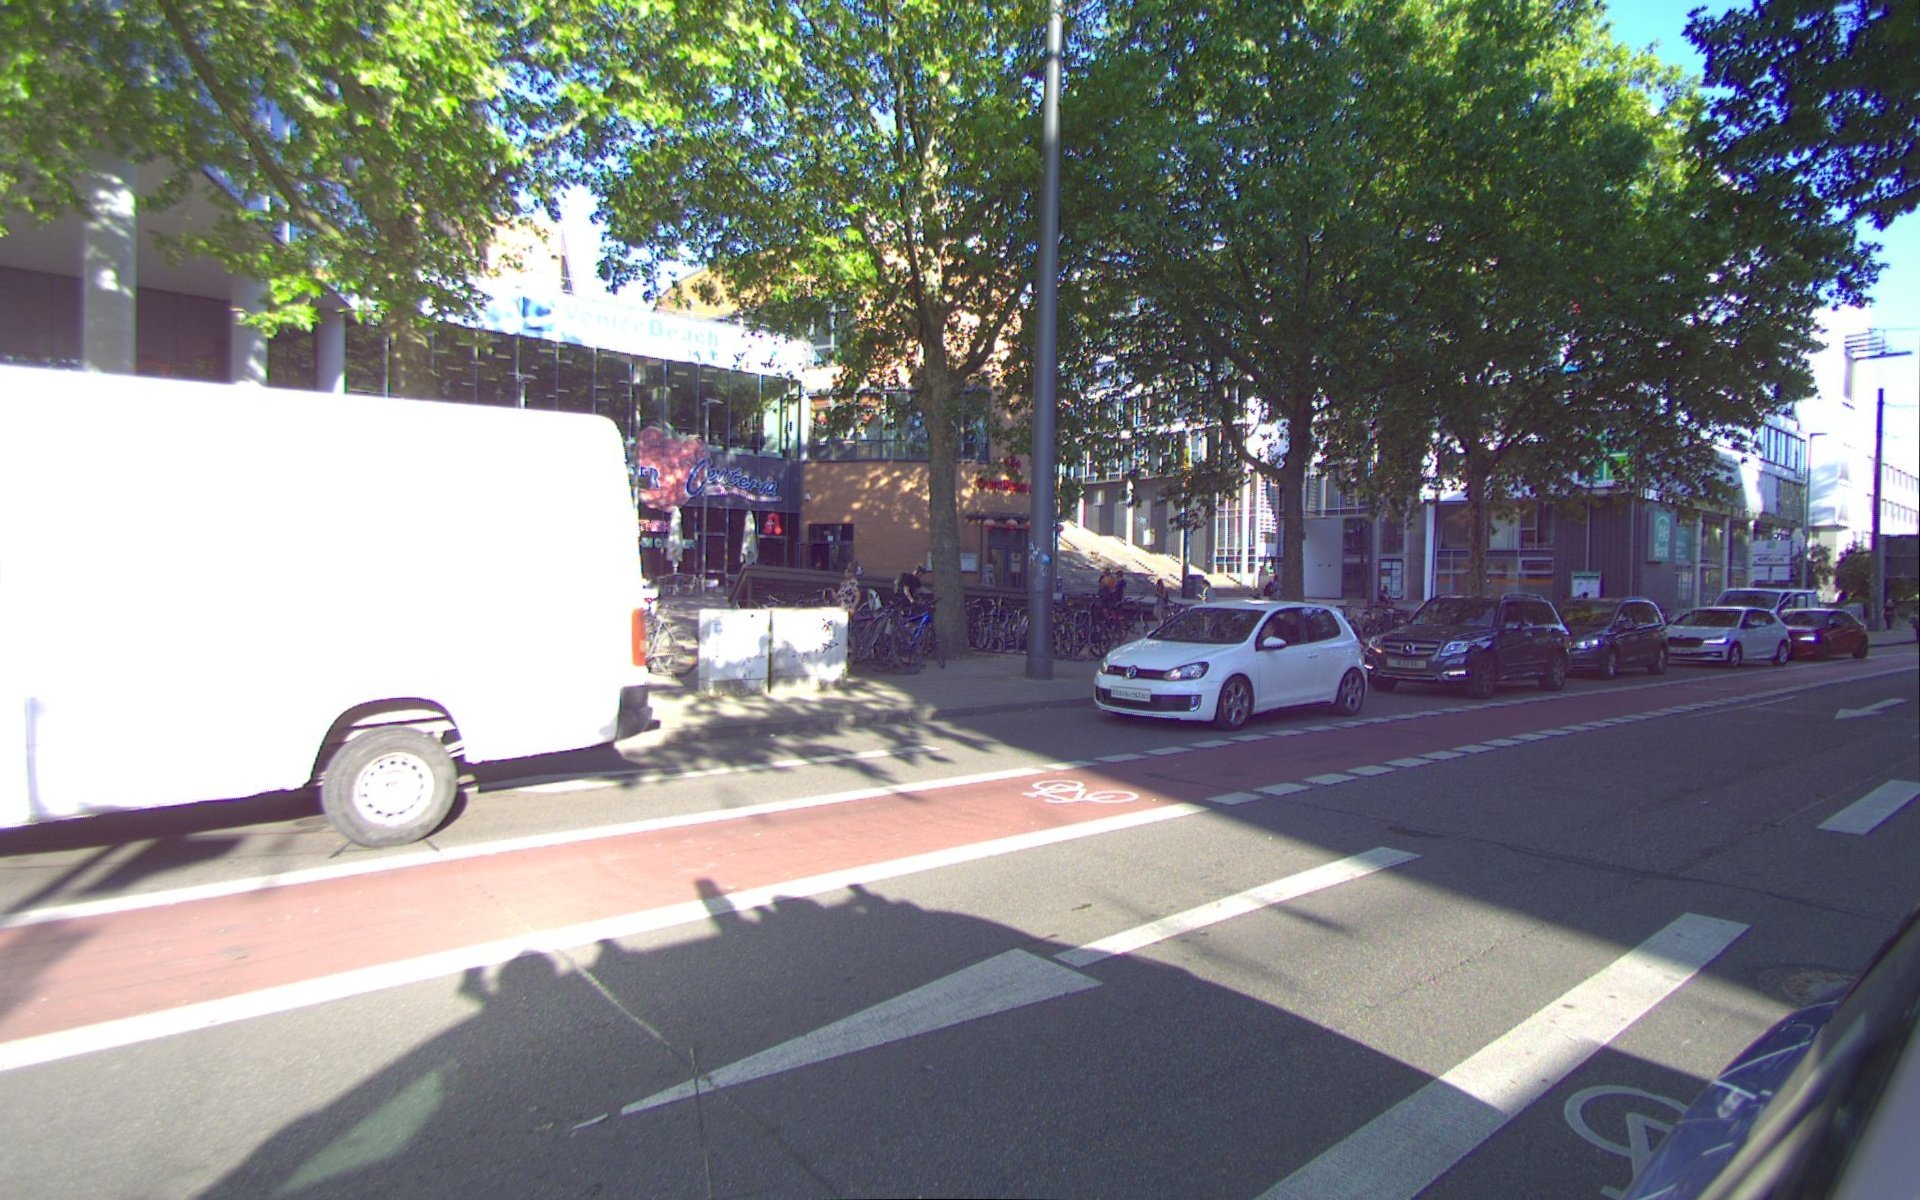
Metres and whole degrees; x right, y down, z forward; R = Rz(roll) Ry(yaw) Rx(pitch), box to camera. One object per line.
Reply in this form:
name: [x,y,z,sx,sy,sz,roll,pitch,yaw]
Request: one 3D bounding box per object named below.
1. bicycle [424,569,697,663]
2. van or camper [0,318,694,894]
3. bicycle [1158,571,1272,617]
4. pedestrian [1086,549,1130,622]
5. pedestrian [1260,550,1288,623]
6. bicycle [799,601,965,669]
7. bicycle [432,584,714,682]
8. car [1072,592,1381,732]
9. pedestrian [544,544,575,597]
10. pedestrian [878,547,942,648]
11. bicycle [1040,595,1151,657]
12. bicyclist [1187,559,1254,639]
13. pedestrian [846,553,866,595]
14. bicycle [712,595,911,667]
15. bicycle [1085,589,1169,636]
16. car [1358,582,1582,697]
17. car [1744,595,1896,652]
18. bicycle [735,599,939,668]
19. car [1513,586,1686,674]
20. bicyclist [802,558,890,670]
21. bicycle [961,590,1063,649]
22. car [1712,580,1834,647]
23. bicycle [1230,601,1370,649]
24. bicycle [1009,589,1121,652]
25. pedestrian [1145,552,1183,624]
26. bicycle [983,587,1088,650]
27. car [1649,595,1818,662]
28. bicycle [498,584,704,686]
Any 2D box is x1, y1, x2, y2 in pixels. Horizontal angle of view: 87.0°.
bicycle: [-5.982,0.287,15.421,3.743,1.236,0.729,4,-2,-35]
van or camper: [-4.884,0.003,5.560,6.384,2.647,2.004,0,1,-41]
bicycle: [6.677,-0.193,26.821,1.124,1.097,3.342,0,2,-23]
pedestrian: [4.724,-0.466,32.373,1.195,2.276,1.052,0,0,-3]
pedestrian: [11.665,-0.505,37.602,0.967,2.681,0.897,0,0,18]
bicycle: [-1.194,0.510,16.053,2.591,0.960,0.924,-1,0,-41]
bicycle: [-5.519,0.417,14.697,3.744,1.236,0.758,-2,1,-35]
car: [3.342,0.636,12.365,3.914,1.446,1.639,0,0,-38]
pedestrian: [-13.664,-1.008,34.538,0.823,1.765,0.645,0,1,-41]
pedestrian: [-1.034,-0.070,21.124,0.922,2.039,1.085,2,1,24]
bicycle: [2.579,0.457,19.060,2.295,1.073,0.682,-1,1,-39]
bicyclist: [6.809,-0.049,26.536,1.132,2.039,1.301,0,1,-24]
pedestrian: [-4.480,-1.114,43.513,0.637,1.765,0.663,2,1,17]
bicycle: [-2.509,0.486,17.520,3.352,1.013,1.051,-1,6,-41]
bicycle: [4.499,0.305,27.117,2.653,1.215,0.698,-1,1,-41]
car: [8.453,0.555,16.635,4.174,1.656,1.768,0,0,-39]
car: [24.298,0.641,28.580,4.109,1.508,1.839,0,-1,-27]
bicycle: [-1.959,0.499,16.759,3.352,1.014,1.050,-1,0,-41]
car: [13.406,0.557,21.123,4.310,1.656,1.710,0,0,-38]
bicyclist: [-1.754,0.198,15.581,1.005,1.641,0.902,0,0,-41]
bicycle: [1.098,0.380,21.058,2.251,1.177,0.657,-1,0,-38]
car: [26.543,0.392,32.965,5.811,1.989,1.933,0,0,-39]
bicycle: [7.933,0.569,23.634,3.136,1.038,0.979,0,0,-18]
bicycle: [2.080,0.372,19.865,2.354,1.177,0.751,-1,0,-39]
pedestrian: [6.536,-0.389,32.471,0.884,2.261,0.845,0,0,-19]
bicycle: [1.554,0.347,20.509,2.263,1.176,0.672,-1,2,-38]
car: [19.147,0.658,25.043,4.110,1.508,1.839,0,0,-29]
bicycle: [-4.809,0.428,13.691,2.504,1.236,0.758,-2,1,-35]
